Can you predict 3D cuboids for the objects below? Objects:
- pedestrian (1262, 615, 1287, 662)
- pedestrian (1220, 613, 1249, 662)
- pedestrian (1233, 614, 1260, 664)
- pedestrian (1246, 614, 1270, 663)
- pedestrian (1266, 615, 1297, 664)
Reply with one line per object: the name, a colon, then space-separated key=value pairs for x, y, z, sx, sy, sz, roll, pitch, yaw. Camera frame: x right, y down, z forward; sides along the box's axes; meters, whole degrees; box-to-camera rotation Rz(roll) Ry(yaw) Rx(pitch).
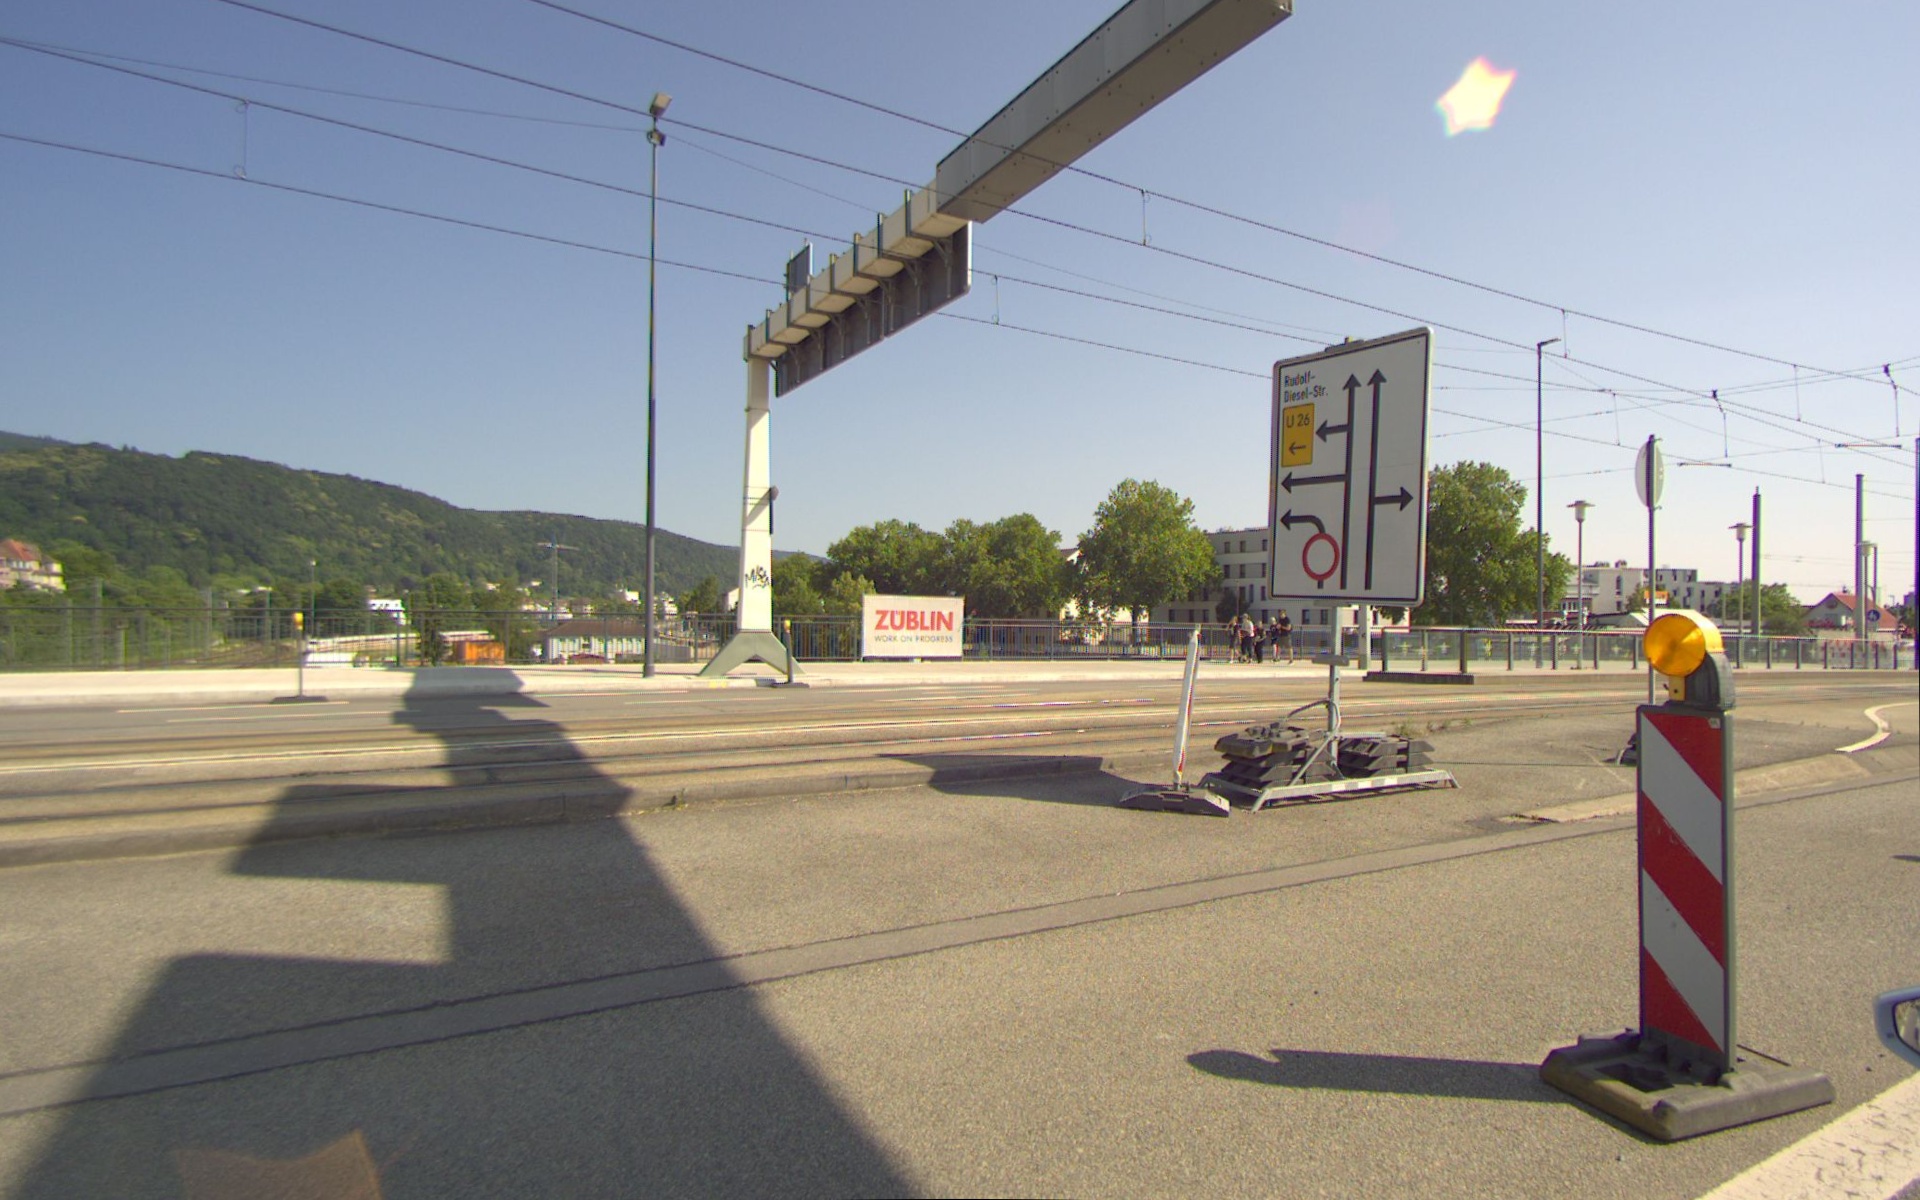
pedestrian: x=11.611 y=1.410 z=37.072 sx=0.763 sy=1.709 sz=0.502 roll=1 pitch=-1 yaw=-28
pedestrian: x=9.692 y=1.332 z=35.471 sx=0.807 sy=1.709 sz=0.595 roll=1 pitch=-1 yaw=-28
pedestrian: x=9.968 y=1.348 z=34.951 sx=0.798 sy=1.709 sz=0.484 roll=1 pitch=-1 yaw=-28
pedestrian: x=10.578 y=1.353 z=35.652 sx=0.760 sy=1.709 sz=0.382 roll=1 pitch=-1 yaw=-28
pedestrian: x=11.273 y=1.366 z=35.228 sx=0.722 sy=1.709 sz=0.750 roll=1 pitch=-1 yaw=-28
